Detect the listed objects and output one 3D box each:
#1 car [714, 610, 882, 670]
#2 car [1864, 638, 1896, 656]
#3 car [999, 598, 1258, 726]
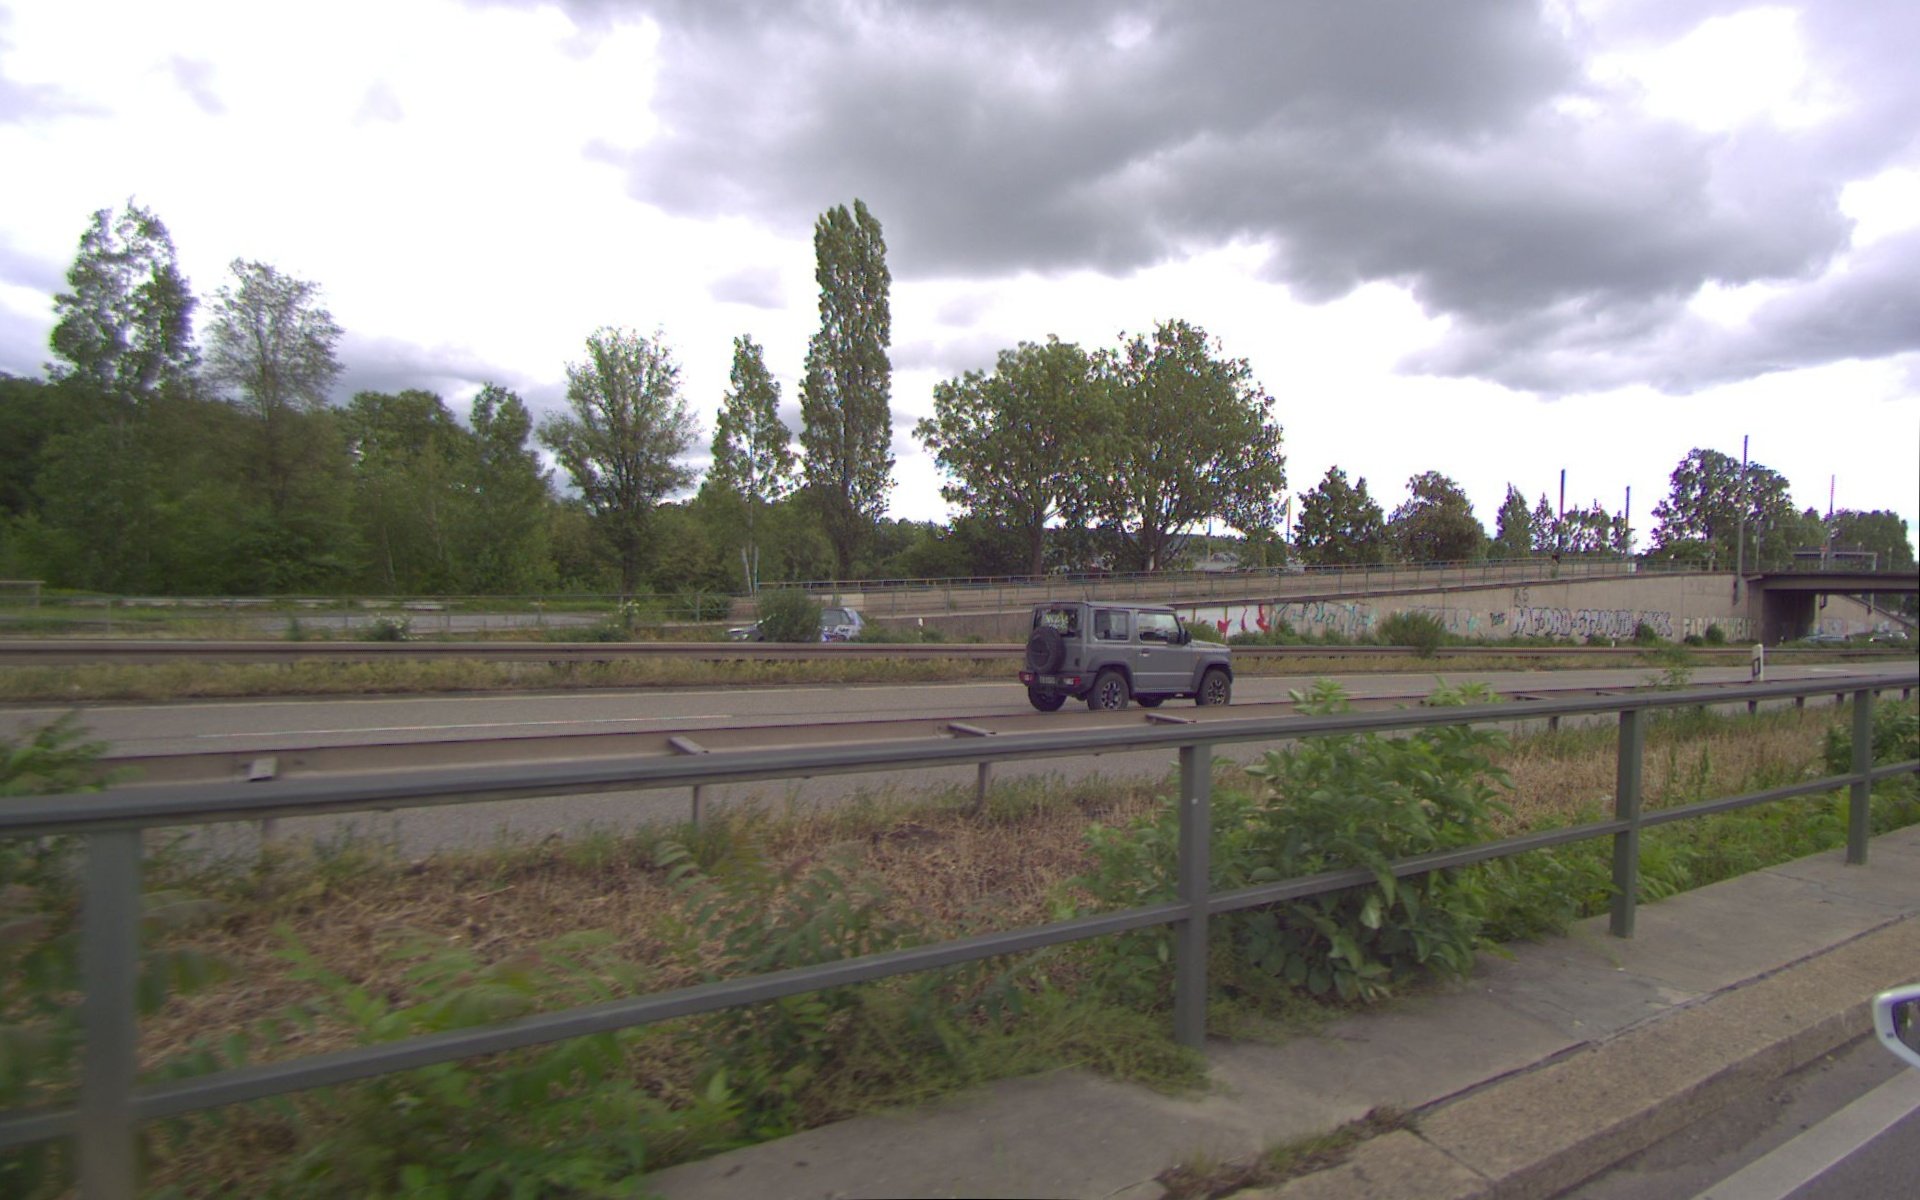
[{"bbox_3d":[-4.266,1.017,26.582,3.956,1.454,1.982,1,0,-33],"label":"car"},{"bbox_3d":[94.340,4.795,103.017,4.669,1.742,1.975,3,-2,-42],"label":"car"},{"bbox_3d":[2.688,0.904,15.672,3.958,1.759,1.670,2,-1,-35],"label":"car"}]
